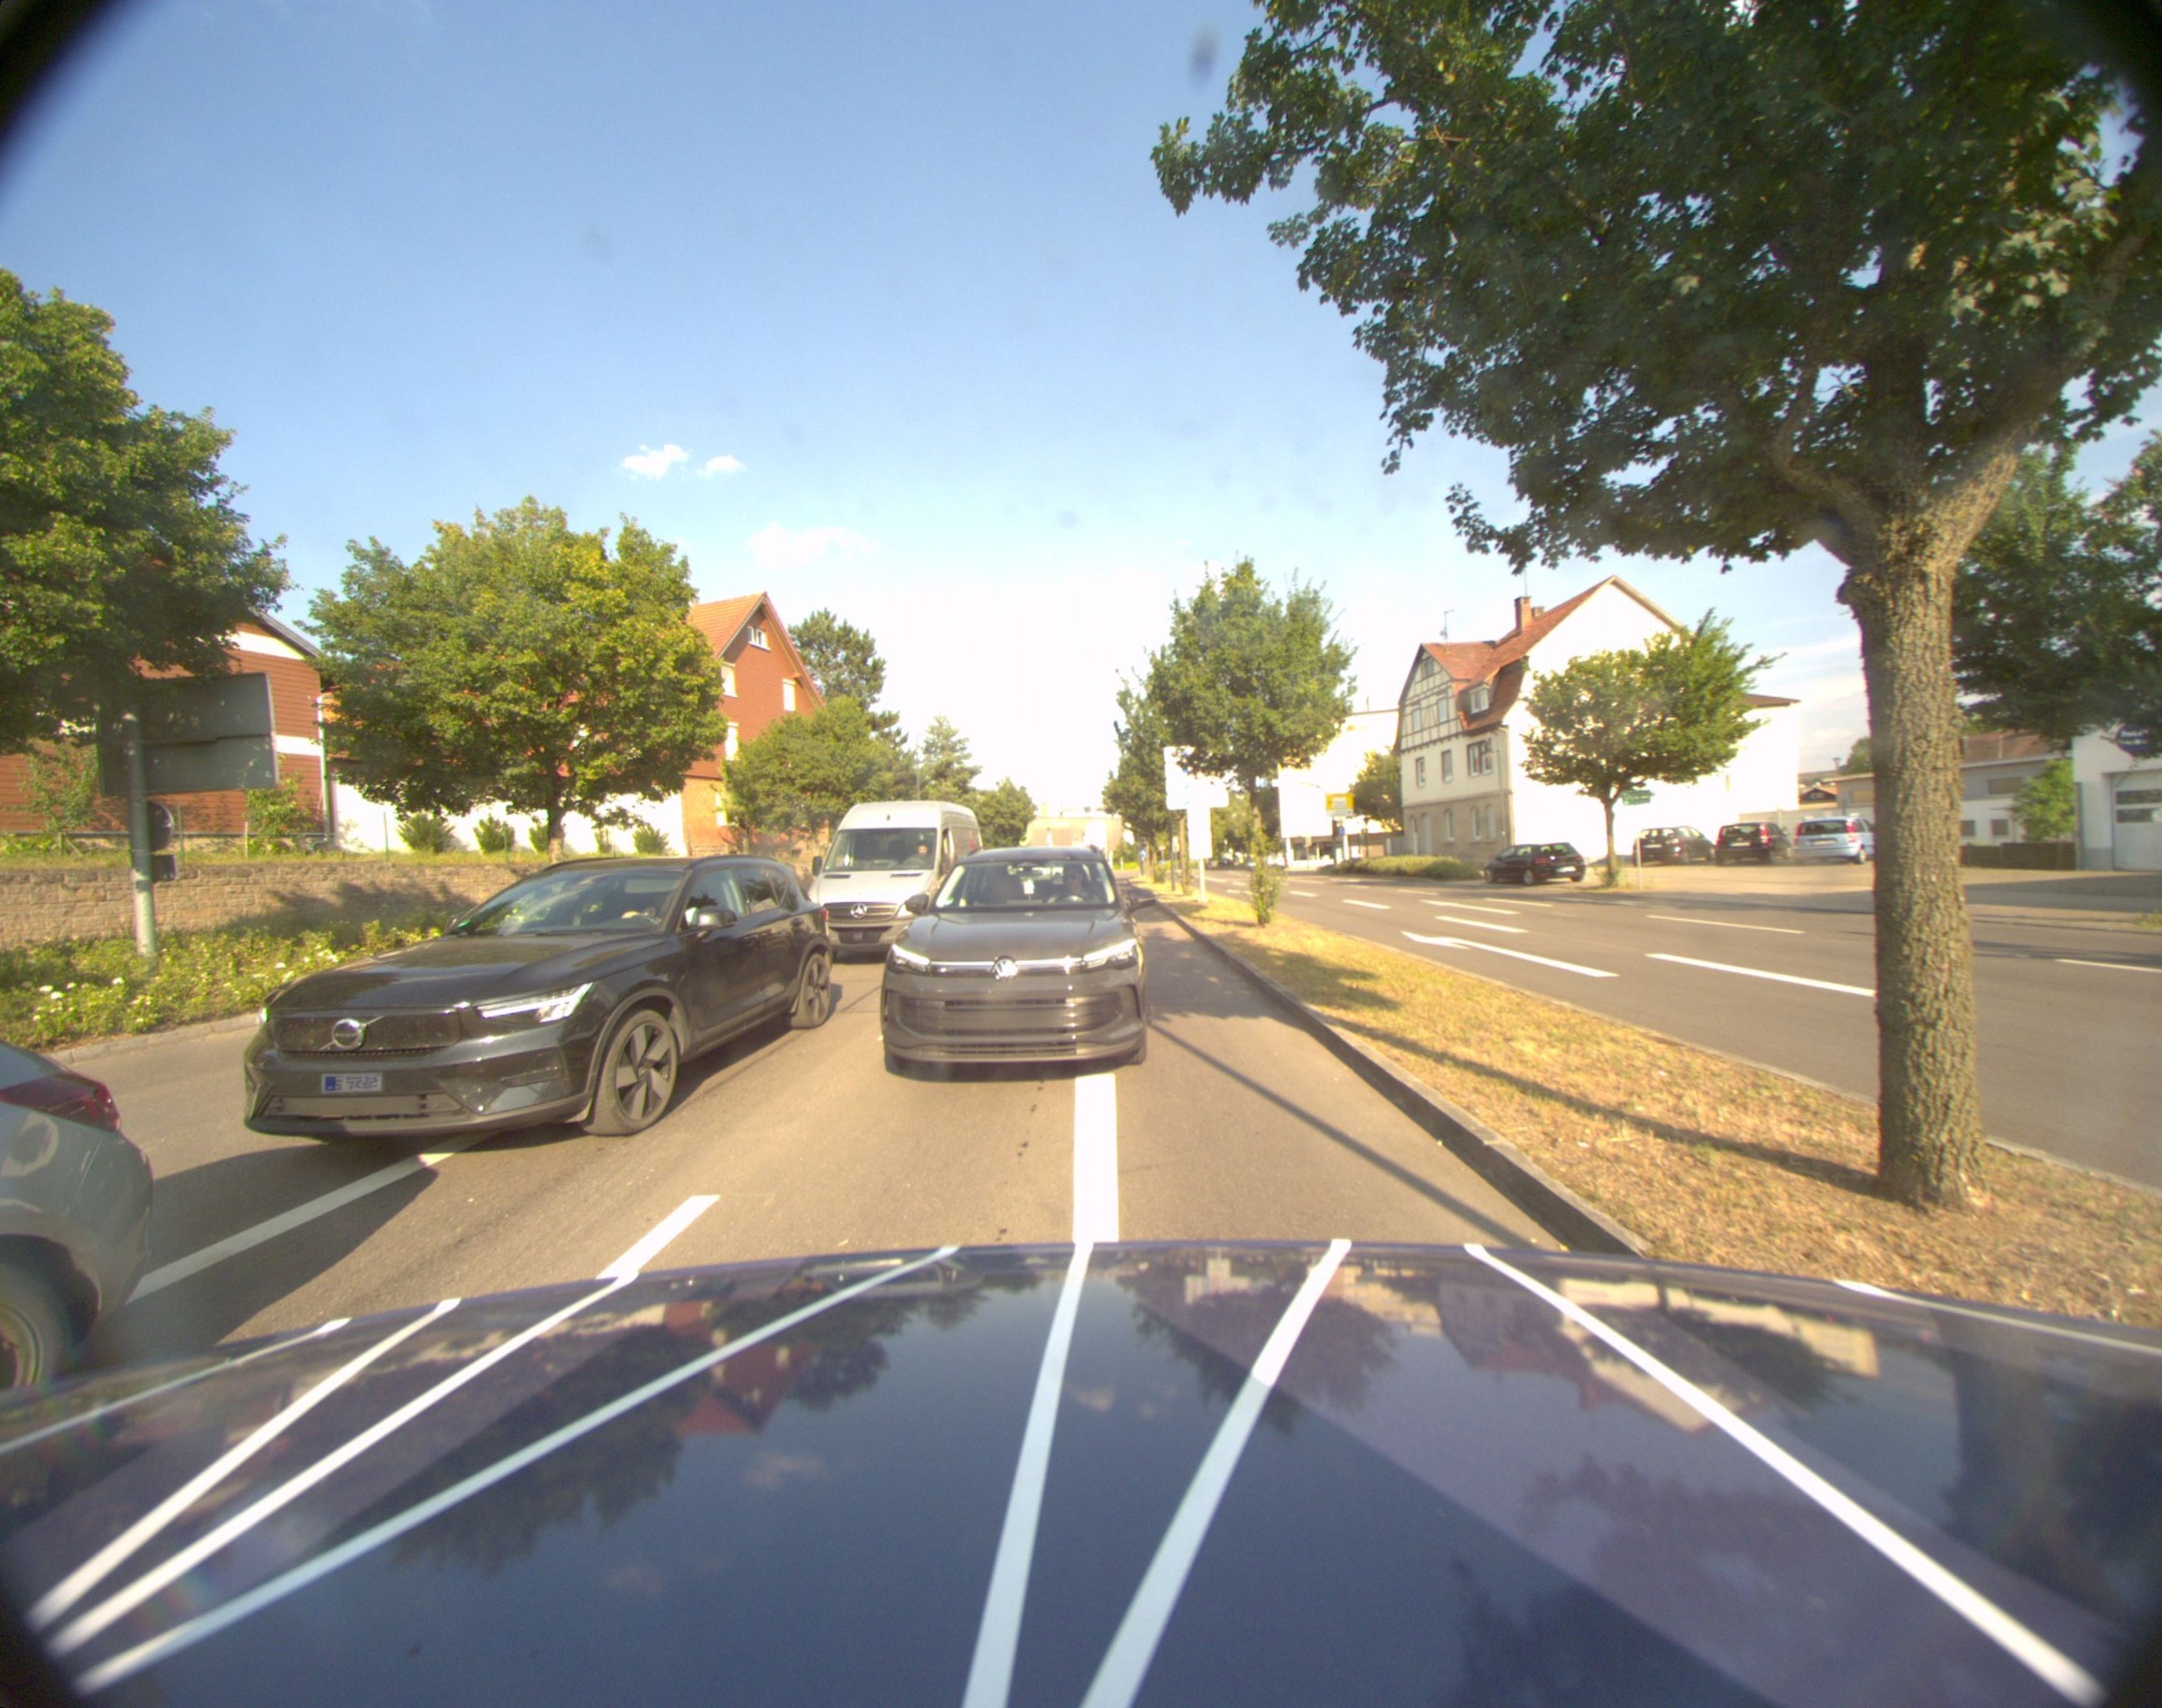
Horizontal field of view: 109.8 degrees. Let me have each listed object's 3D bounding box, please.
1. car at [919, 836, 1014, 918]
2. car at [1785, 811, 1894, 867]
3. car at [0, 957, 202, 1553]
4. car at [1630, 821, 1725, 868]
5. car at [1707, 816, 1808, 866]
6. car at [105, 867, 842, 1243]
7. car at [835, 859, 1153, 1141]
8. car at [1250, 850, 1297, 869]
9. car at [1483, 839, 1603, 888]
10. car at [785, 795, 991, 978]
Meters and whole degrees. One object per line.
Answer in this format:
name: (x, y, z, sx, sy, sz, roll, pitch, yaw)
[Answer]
car: (-3.017, 0.561, 20.953, 1.845, 2.018, 4.318, -1, 0, 2)
car: (24.878, -0.495, 24.891, 3.830, 1.493, 1.816, -5, 0, -35)
car: (-3.614, 1.061, 0.182, 1.766, 1.445, 4.318, -1, 0, 0)
car: (23.378, -0.384, 29.753, 3.830, 1.493, 1.816, -5, 0, -35)
car: (24.656, -0.481, 27.657, 3.830, 1.493, 1.816, -5, 0, -35)
car: (-3.424, 0.952, 5.585, 1.845, 1.600, 4.318, -1, 0, 2)
car: (-0.453, 0.874, 6.618, 1.845, 1.600, 4.318, -1, 0, 2)
car: (17.495, 0.497, 69.301, 3.994, 1.622, 1.861, -2, 0, 9)
car: (16.032, 0.287, 26.619, 1.818, 1.442, 3.825, -5, 0, 1)
car: (-3.072, 0.453, 13.714, 1.992, 2.554, 6.046, -1, 0, 2)
